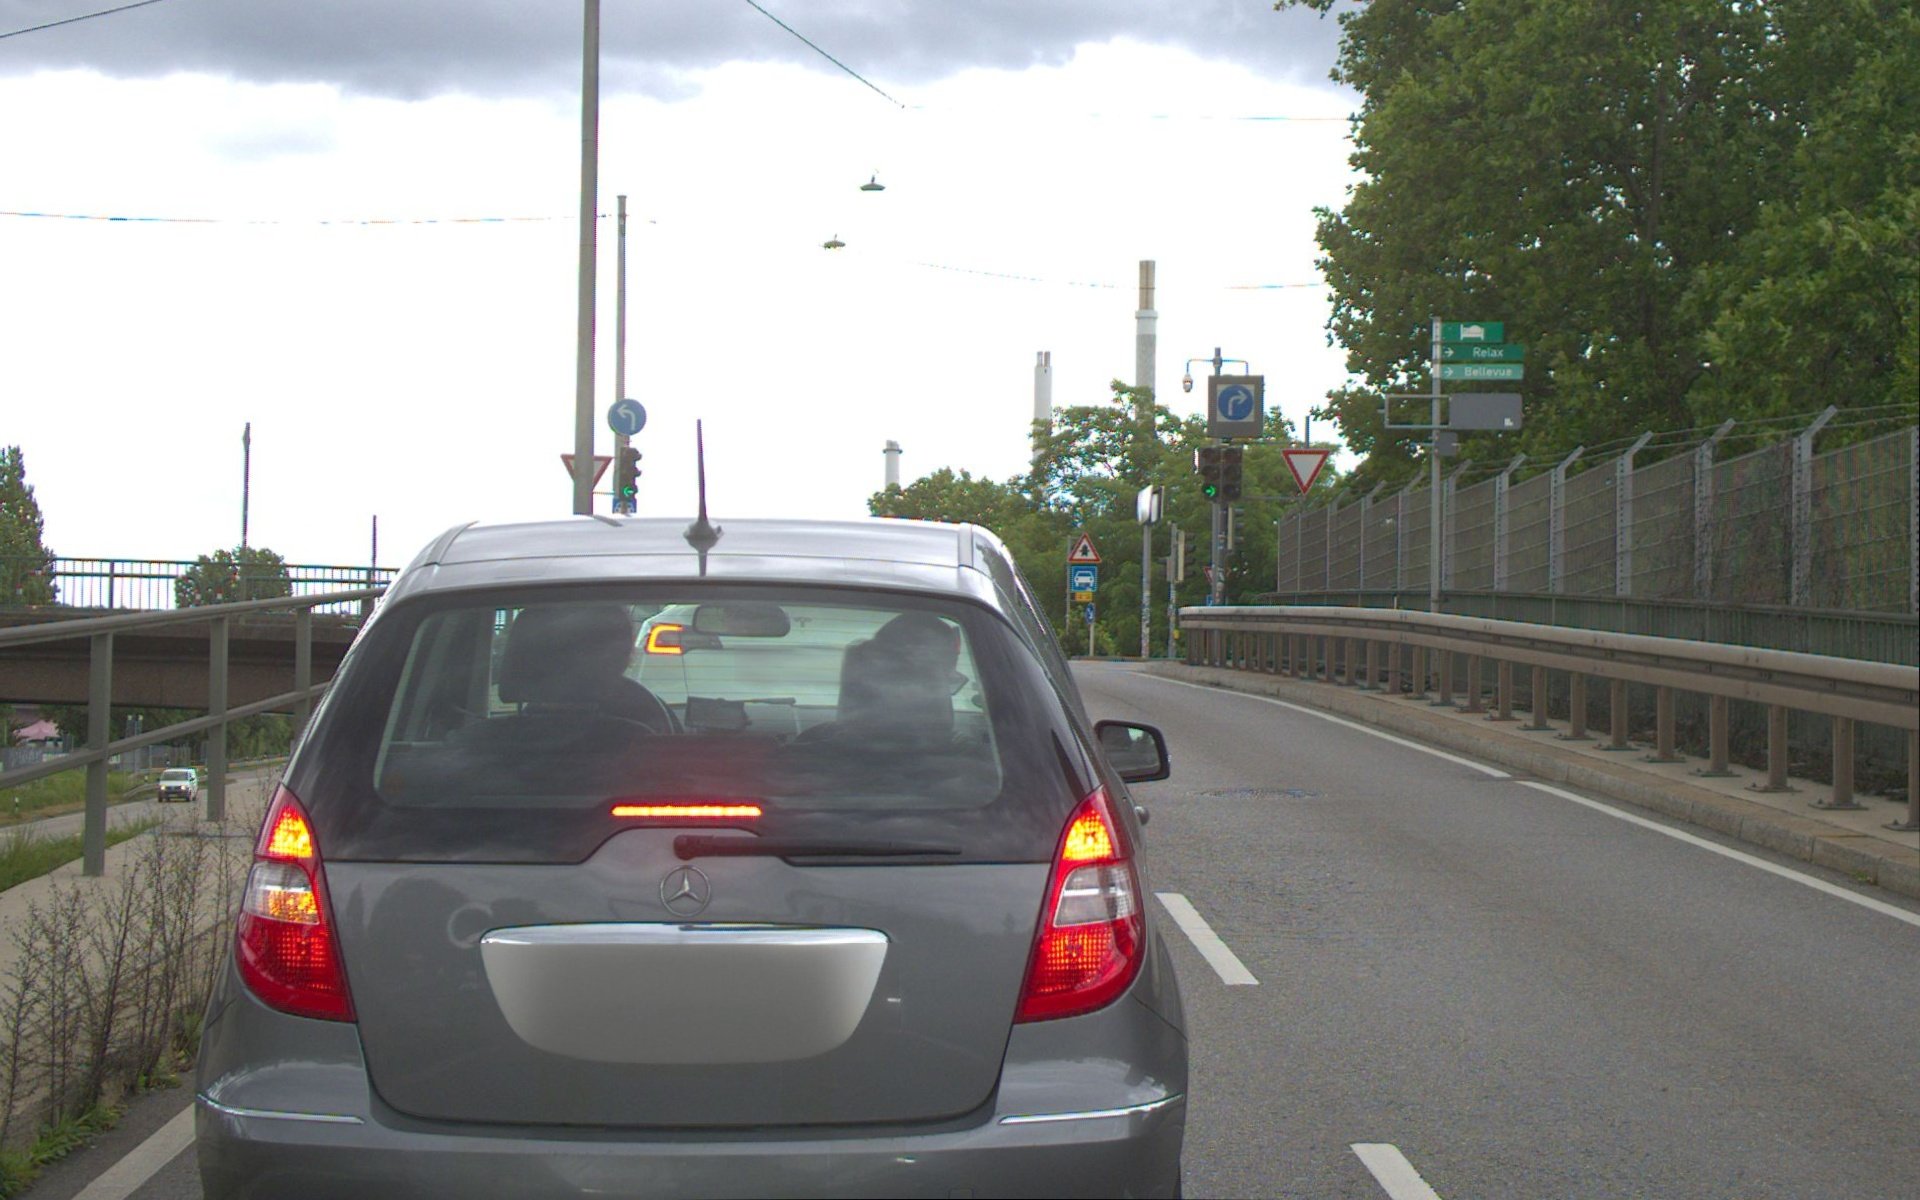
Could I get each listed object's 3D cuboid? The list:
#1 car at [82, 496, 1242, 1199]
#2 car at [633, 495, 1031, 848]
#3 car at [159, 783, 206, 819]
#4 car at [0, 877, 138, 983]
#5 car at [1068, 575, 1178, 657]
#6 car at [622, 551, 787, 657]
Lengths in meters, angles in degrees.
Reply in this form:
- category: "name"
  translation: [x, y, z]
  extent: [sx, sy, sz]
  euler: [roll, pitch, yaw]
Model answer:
- category: "car"
  translation: [-0.507, 0.607, 7.559]
  extent: [1.857, 1.583, 4.000]
  euler: [1, 1, -1]
- category: "car"
  translation: [-0.663, 0.328, 19.112]
  extent: [1.931, 1.711, 4.406]
  euler: [1, 1, -1]
- category: "car"
  translation: [-47.083, 12.159, 208.285]
  extent: [1.993, 2.060, 5.177]
  euler: [1, -2, -4]
- category: "car"
  translation: [-15.910, 5.822, 60.979]
  extent: [1.898, 1.616, 4.179]
  euler: [1, -2, -4]
- category: "car"
  translation: [3.305, 0.297, 69.080]
  extent: [1.833, 1.571, 4.345]
  euler: [1, 1, 8]
- category: "car"
  translation: [-4.737, 0.047, 63.236]
  extent: [1.993, 1.864, 4.215]
  euler: [1, 1, -19]
